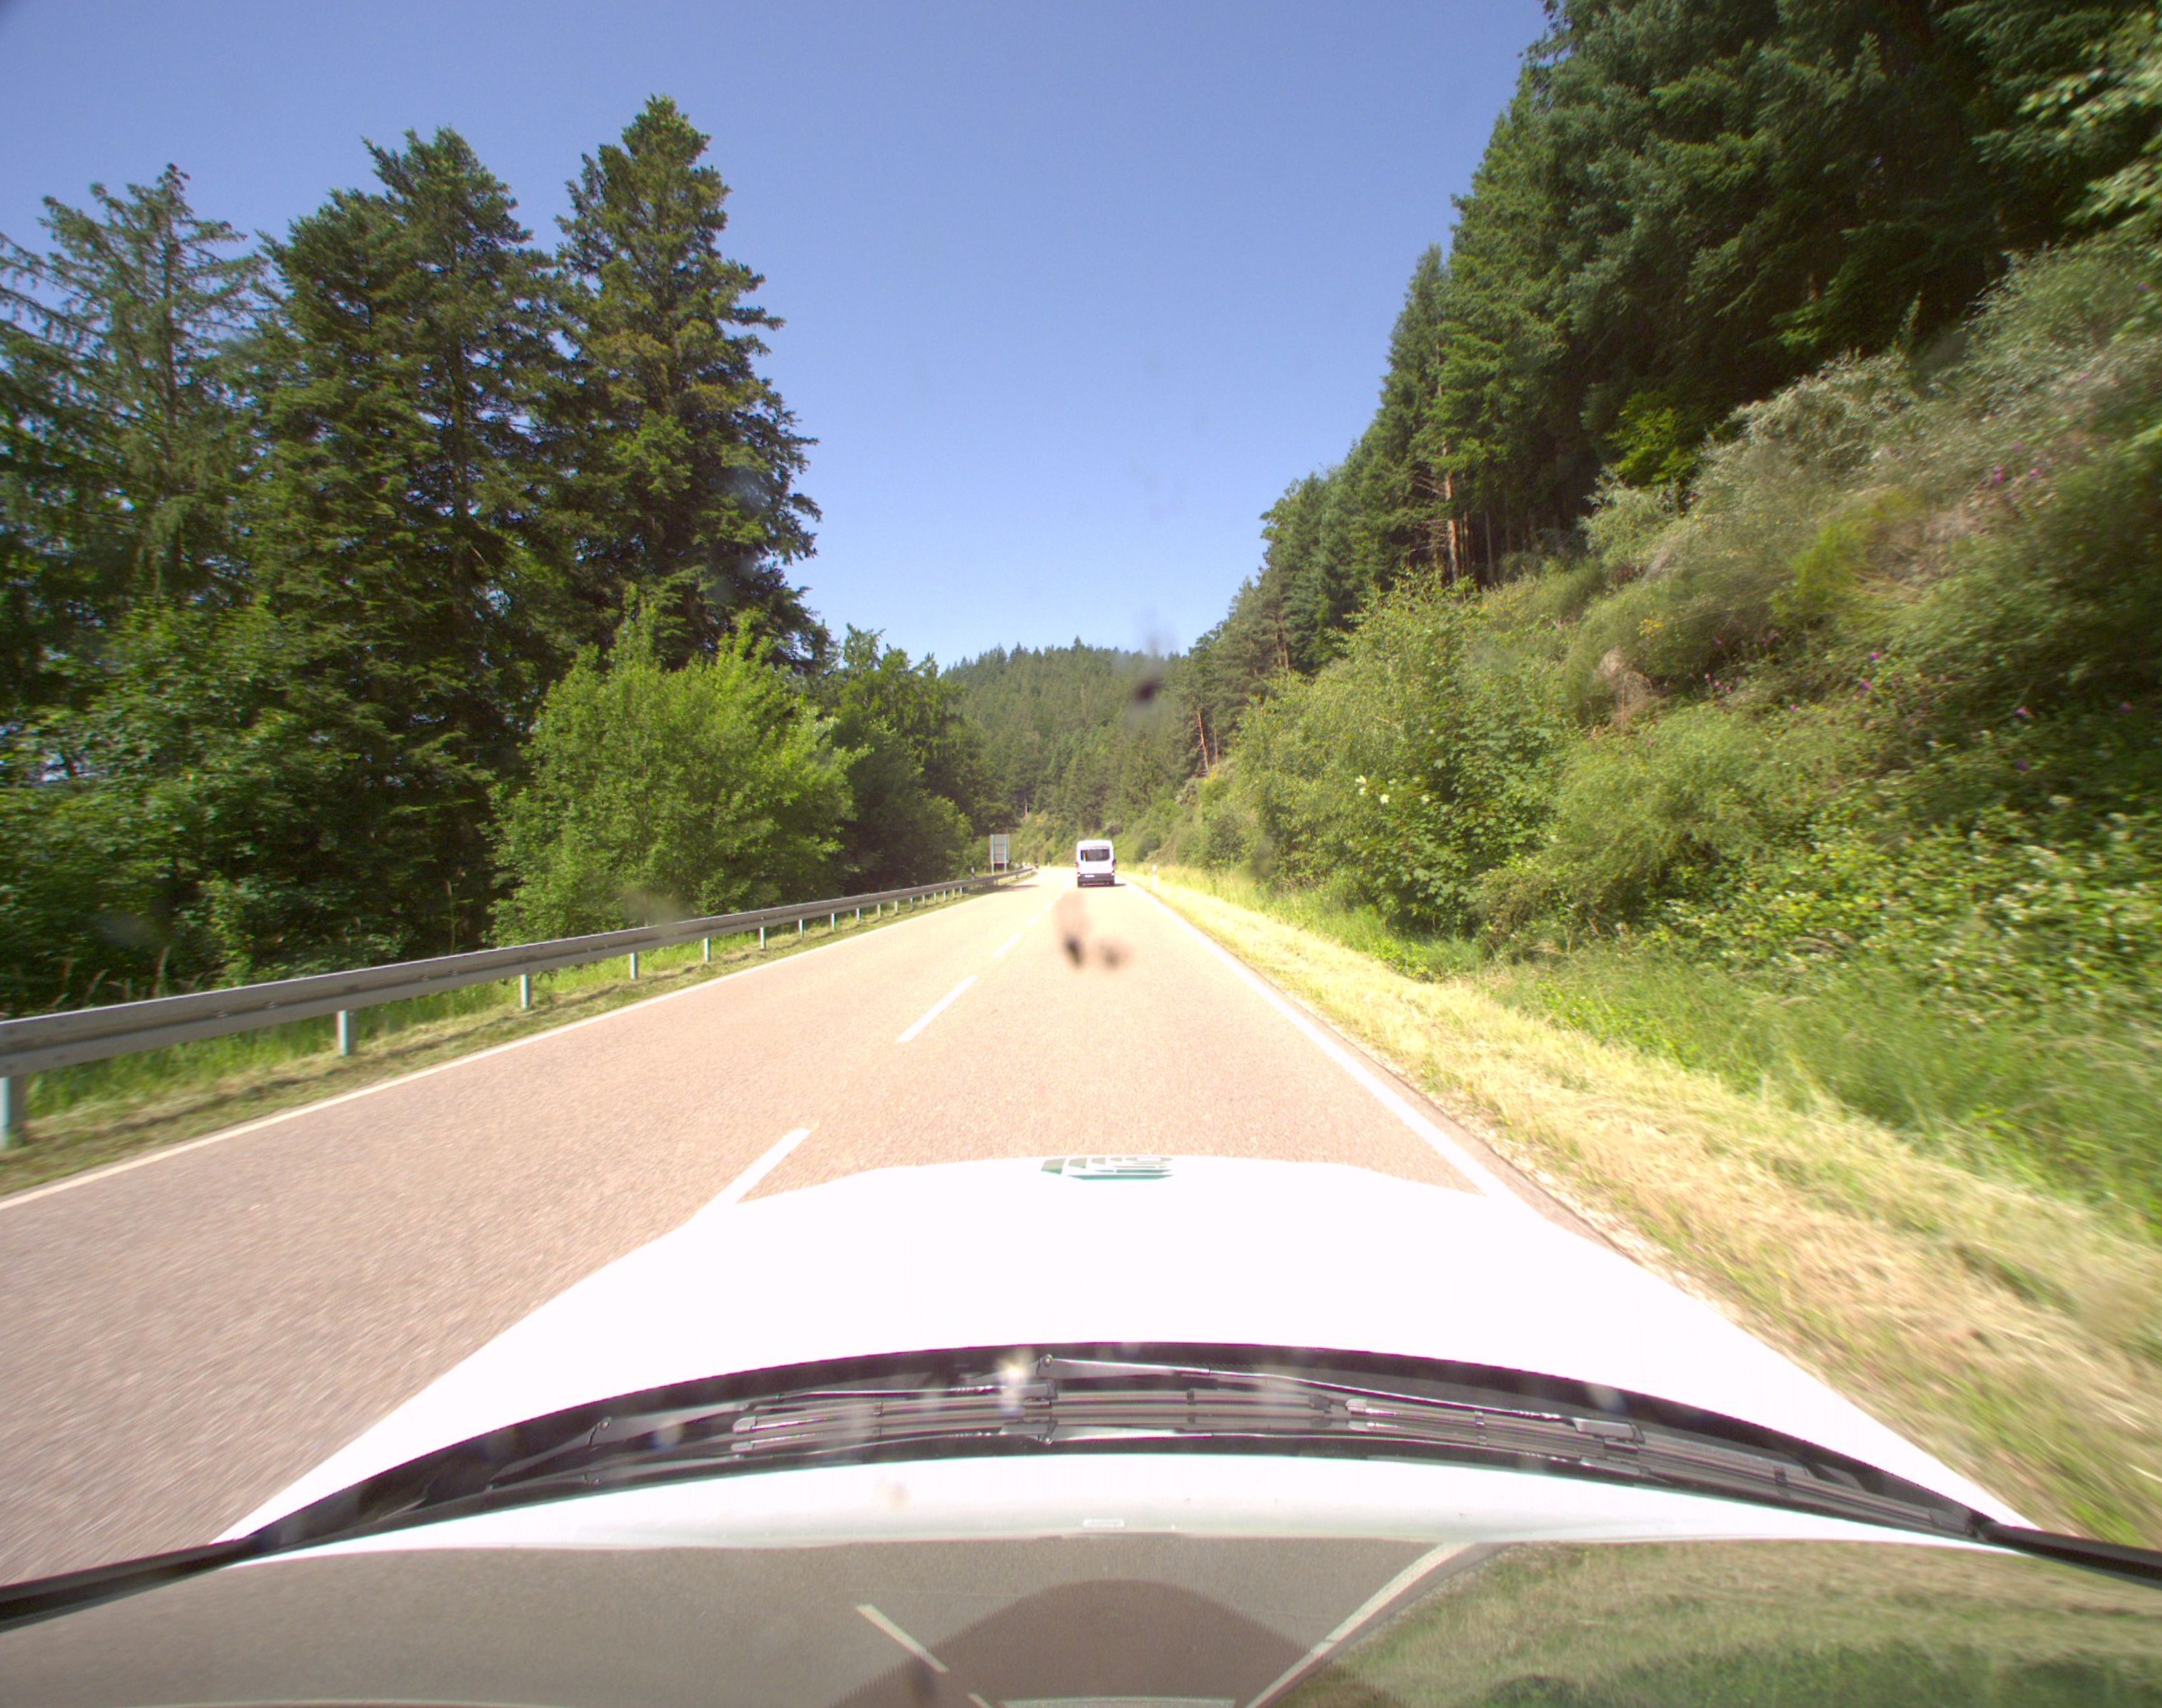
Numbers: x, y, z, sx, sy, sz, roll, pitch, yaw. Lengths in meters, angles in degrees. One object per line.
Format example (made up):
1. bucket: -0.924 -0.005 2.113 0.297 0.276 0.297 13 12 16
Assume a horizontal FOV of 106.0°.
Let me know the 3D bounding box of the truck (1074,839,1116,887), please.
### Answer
1. truck: 0.709 0.476 44.714 2.077 2.460 4.872 -2 -1 -1

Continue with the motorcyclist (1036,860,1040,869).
1. motorcyclist: -7.646 1.897 145.039 0.656 1.513 0.933 -2 0 -1

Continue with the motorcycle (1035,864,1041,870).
1. motorcycle: -7.695 2.295 145.003 0.981 1.071 1.962 -2 0 -1
